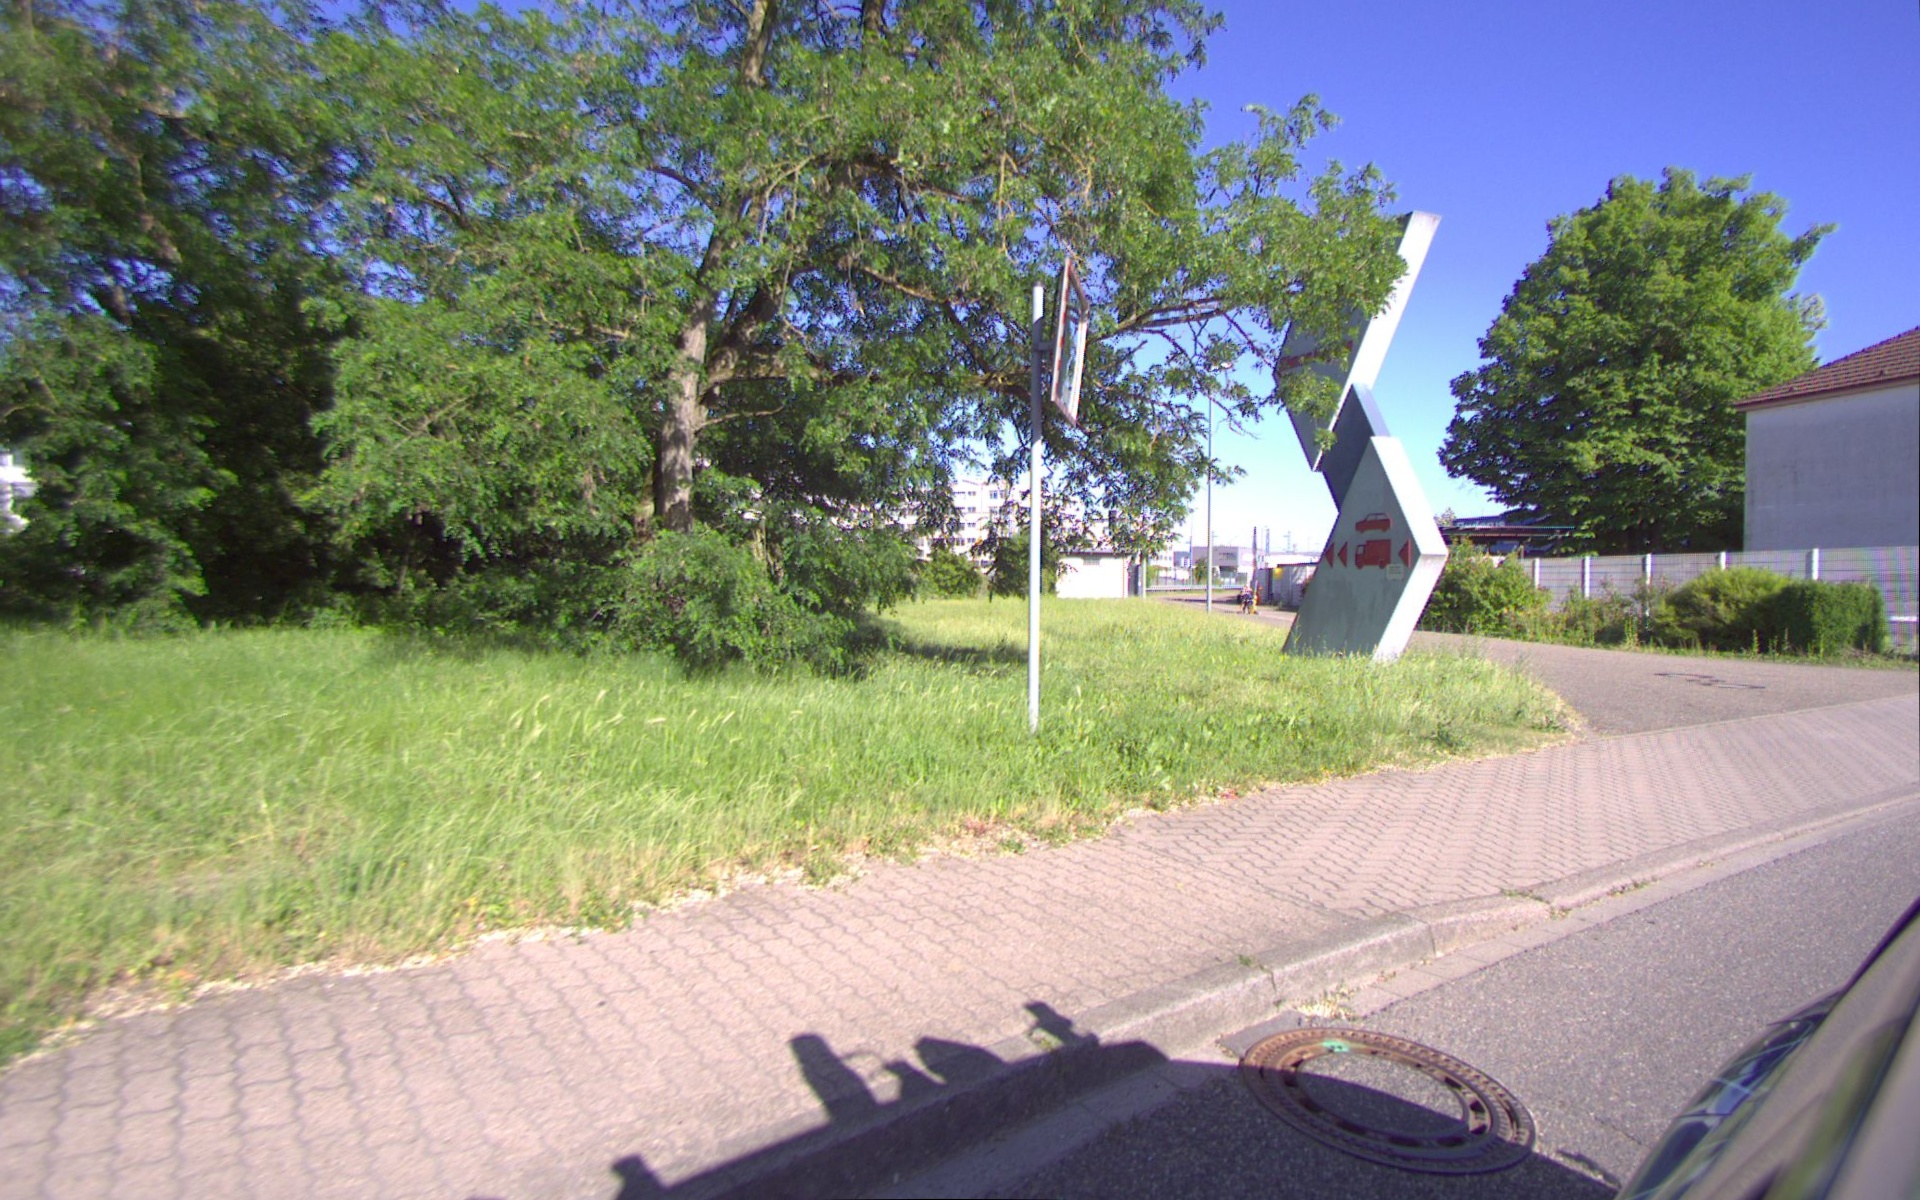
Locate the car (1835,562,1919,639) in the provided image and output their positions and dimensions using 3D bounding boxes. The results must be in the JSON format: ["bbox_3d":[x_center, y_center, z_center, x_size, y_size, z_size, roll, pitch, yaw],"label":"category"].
[{"bbox_3d":[24.071,-0.008,25.948,1.988,1.799,4.310,3,2,35],"label":"car"}]

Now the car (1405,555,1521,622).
[{"bbox_3d":[20.782,-0.549,42.108,1.801,2.572,5.042,1,2,-6],"label":"car"}]
